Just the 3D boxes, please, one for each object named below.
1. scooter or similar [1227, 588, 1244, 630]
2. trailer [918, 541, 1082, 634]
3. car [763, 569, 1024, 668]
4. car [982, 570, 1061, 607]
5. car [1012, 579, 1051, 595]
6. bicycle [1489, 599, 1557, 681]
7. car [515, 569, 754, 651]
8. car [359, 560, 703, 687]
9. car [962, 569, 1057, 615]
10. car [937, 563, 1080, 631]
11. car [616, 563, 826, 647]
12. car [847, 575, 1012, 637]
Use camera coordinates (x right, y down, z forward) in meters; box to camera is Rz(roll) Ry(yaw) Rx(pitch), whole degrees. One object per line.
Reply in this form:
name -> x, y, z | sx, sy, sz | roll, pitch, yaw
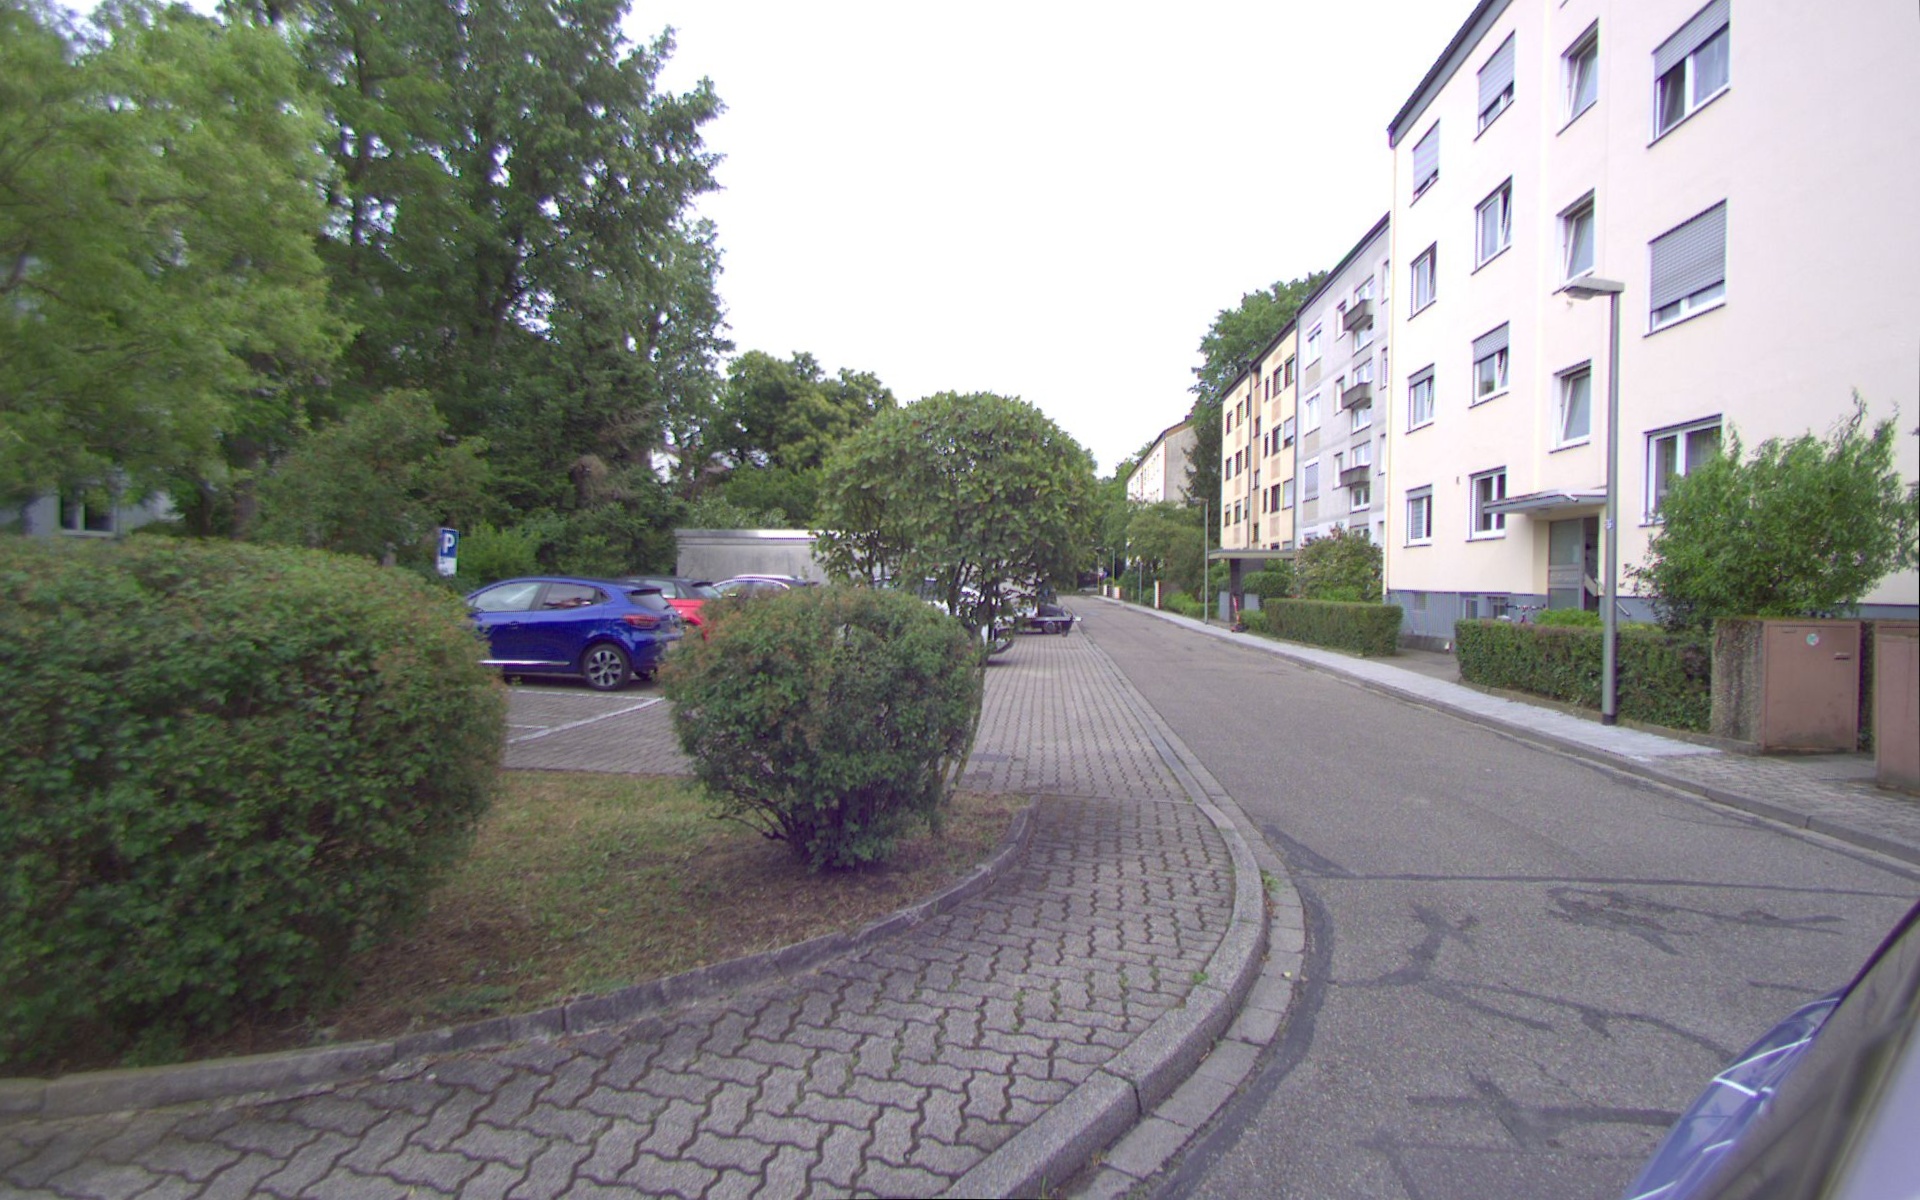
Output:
scooter or similar -> 8.304, 0.259, 30.511 | 0.269, 1.226, 1.163 | 1, 0, 4
trailer -> 1.171, -0.379, 28.905 | 4.544, 2.556, 1.940 | 0, 1, 6
car -> -1.123, 0.293, 18.503 | 4.475, 1.608, 1.984 | 1, 1, 8
car -> 3.355, -0.633, 55.187 | 4.135, 1.749, 1.998 | 3, 1, 5
car -> 7.526, -1.387, 106.148 | 4.033, 1.666, 1.786 | 1, 1, 5
bicycle -> 8.159, 0.555, 14.716 | 0.313, 1.089, 1.416 | 0, 1, 5
car -> -6.049, 0.164, 19.109 | 3.842, 1.398, 1.969 | 1, 1, 6
car -> -5.738, 0.274, 13.856 | 3.842, 1.529, 2.025 | 1, 1, 6
car -> 2.141, -0.366, 43.619 | 3.930, 1.724, 1.998 | 3, 1, 5
car -> 1.537, -0.110, 31.821 | 4.249, 1.824, 1.998 | 3, 1, 5
car -> -4.951, 0.087, 21.391 | 3.926, 1.571, 1.999 | 2, 1, 2
car -> -0.730, 0.129, 25.992 | 4.068, 1.467, 1.610 | 1, 1, 5
